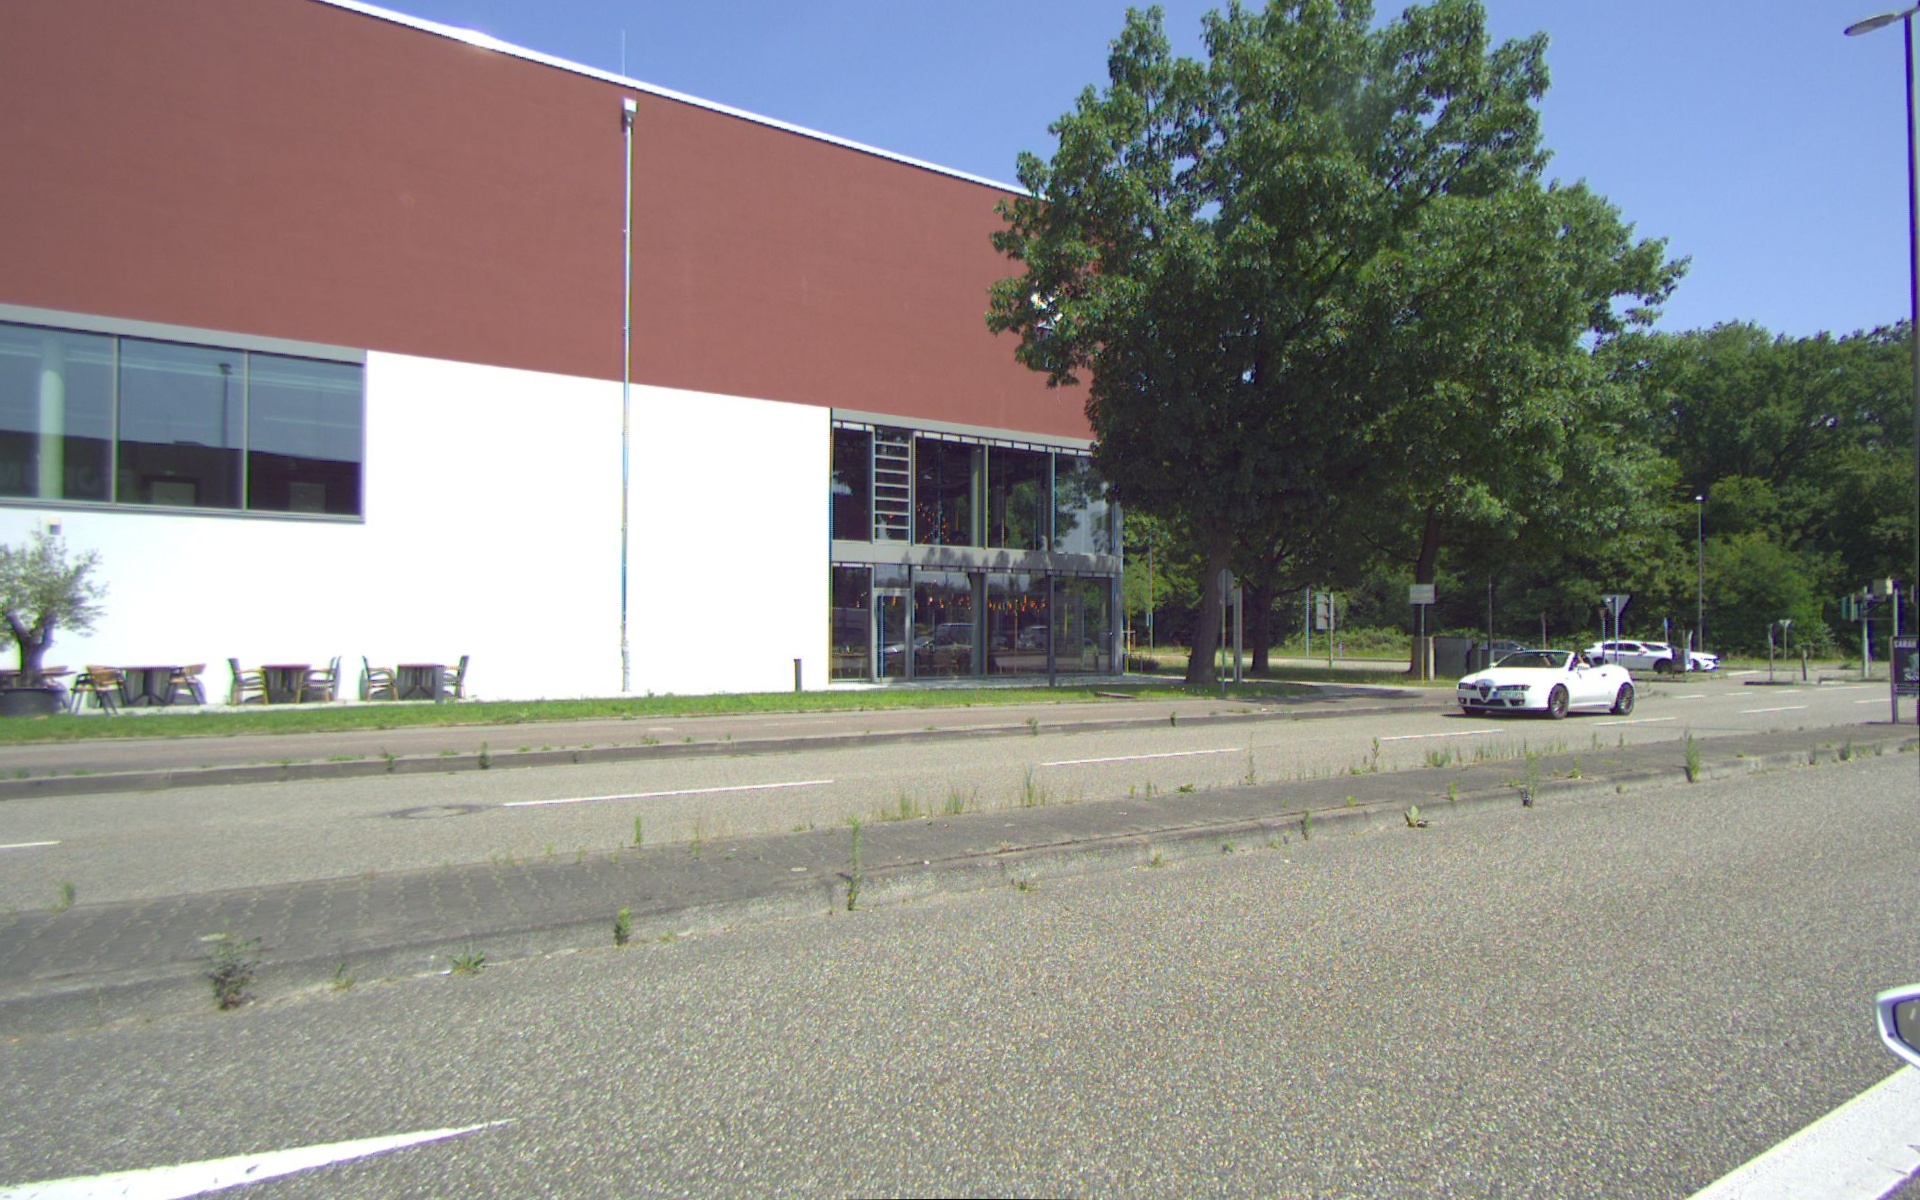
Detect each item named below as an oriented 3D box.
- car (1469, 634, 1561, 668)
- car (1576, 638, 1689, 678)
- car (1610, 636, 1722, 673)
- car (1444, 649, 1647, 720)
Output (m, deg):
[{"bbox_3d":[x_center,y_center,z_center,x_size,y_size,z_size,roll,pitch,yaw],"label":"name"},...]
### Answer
[{"bbox_3d":[32.175,2.943,58.328,1.796,1.704,4.332,2,-1,-41],"label":"car"},{"bbox_3d":[33.391,2.869,49.981,1.794,1.704,4.338,2,0,-37],"label":"car"},{"bbox_3d":[36.540,2.848,52.085,1.794,1.703,4.340,2,-6,-37],"label":"car"},{"bbox_3d":[11.897,1.666,20.347,4.252,1.279,1.710,1,-4,-31],"label":"car"}]
